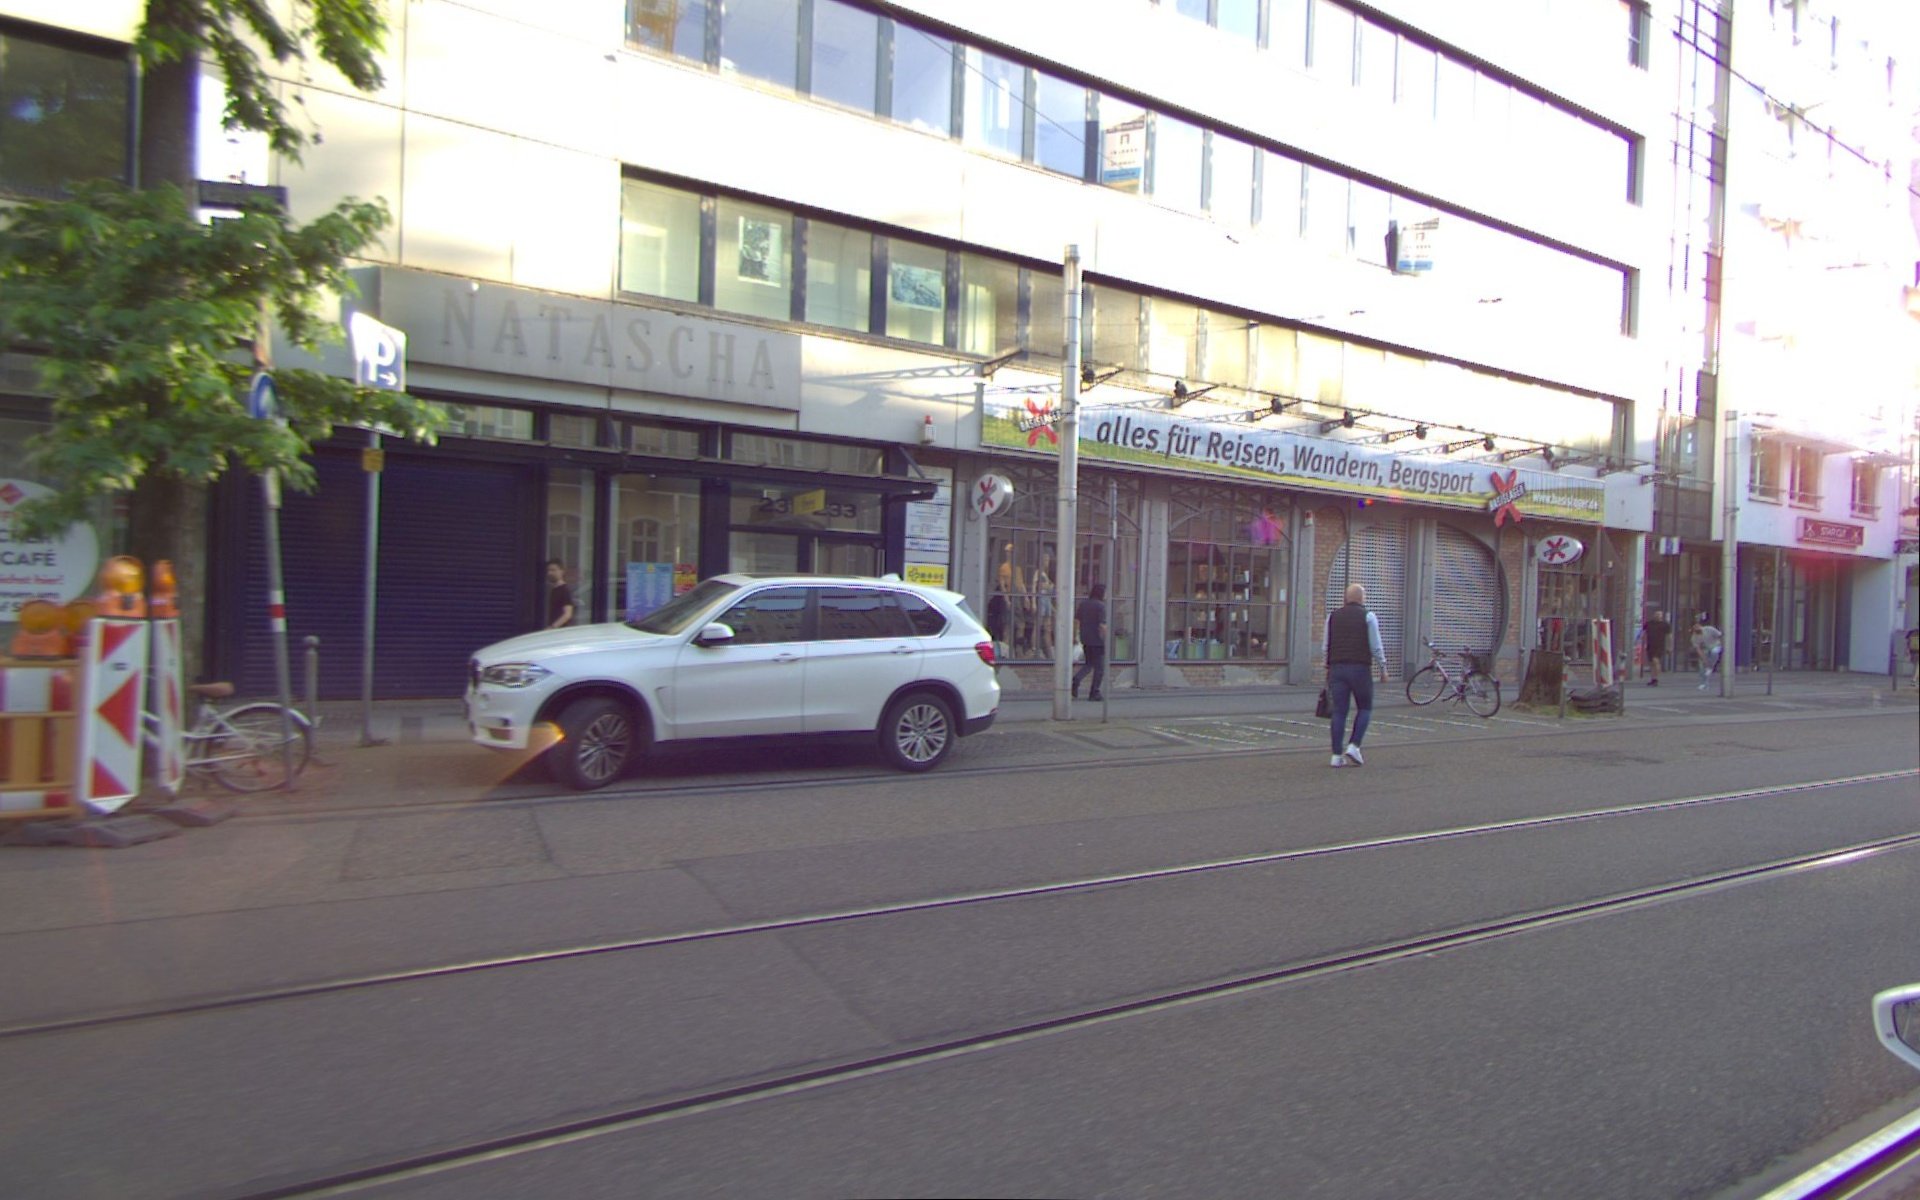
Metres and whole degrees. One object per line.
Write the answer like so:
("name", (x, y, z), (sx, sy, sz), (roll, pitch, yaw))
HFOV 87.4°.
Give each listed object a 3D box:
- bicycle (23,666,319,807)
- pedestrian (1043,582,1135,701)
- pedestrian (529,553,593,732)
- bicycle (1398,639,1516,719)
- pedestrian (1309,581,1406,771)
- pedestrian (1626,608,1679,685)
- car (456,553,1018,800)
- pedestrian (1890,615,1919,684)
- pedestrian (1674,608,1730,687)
("bicycle", (-5.380, 0.918, 6.947), (1.513, 0.848, 0.500), (2, 2, -24))
("pedestrian", (1.957, 0.612, 15.265), (1.025, 1.718, 0.828), (1, 3, -29))
("pedestrian", (-4.715, 0.491, 11.872), (0.585, 2.040, 0.611), (1, 0, -30))
("bicycle", (7.680, 1.199, 15.617), (0.471, 1.005, 1.741), (1, 3, -21))
("pedestrian", (3.974, 0.724, 10.085), (0.836, 1.790, 0.832), (1, 0, 21))
("pedestrian", (16.156, 1.077, 23.439), (0.797, 1.736, 0.625), (2, 1, -25))
("car", (-1.990, 0.571, 9.305), (4.688, 1.778, 1.984), (2, 2, -30))
("pedestrian", (26.563, 1.379, 27.953), (0.868, 1.850, 0.657), (1, 3, -29))
("pedestrian", (16.816, 1.078, 22.769), (0.818, 1.736, 0.639), (2, 1, -25))
